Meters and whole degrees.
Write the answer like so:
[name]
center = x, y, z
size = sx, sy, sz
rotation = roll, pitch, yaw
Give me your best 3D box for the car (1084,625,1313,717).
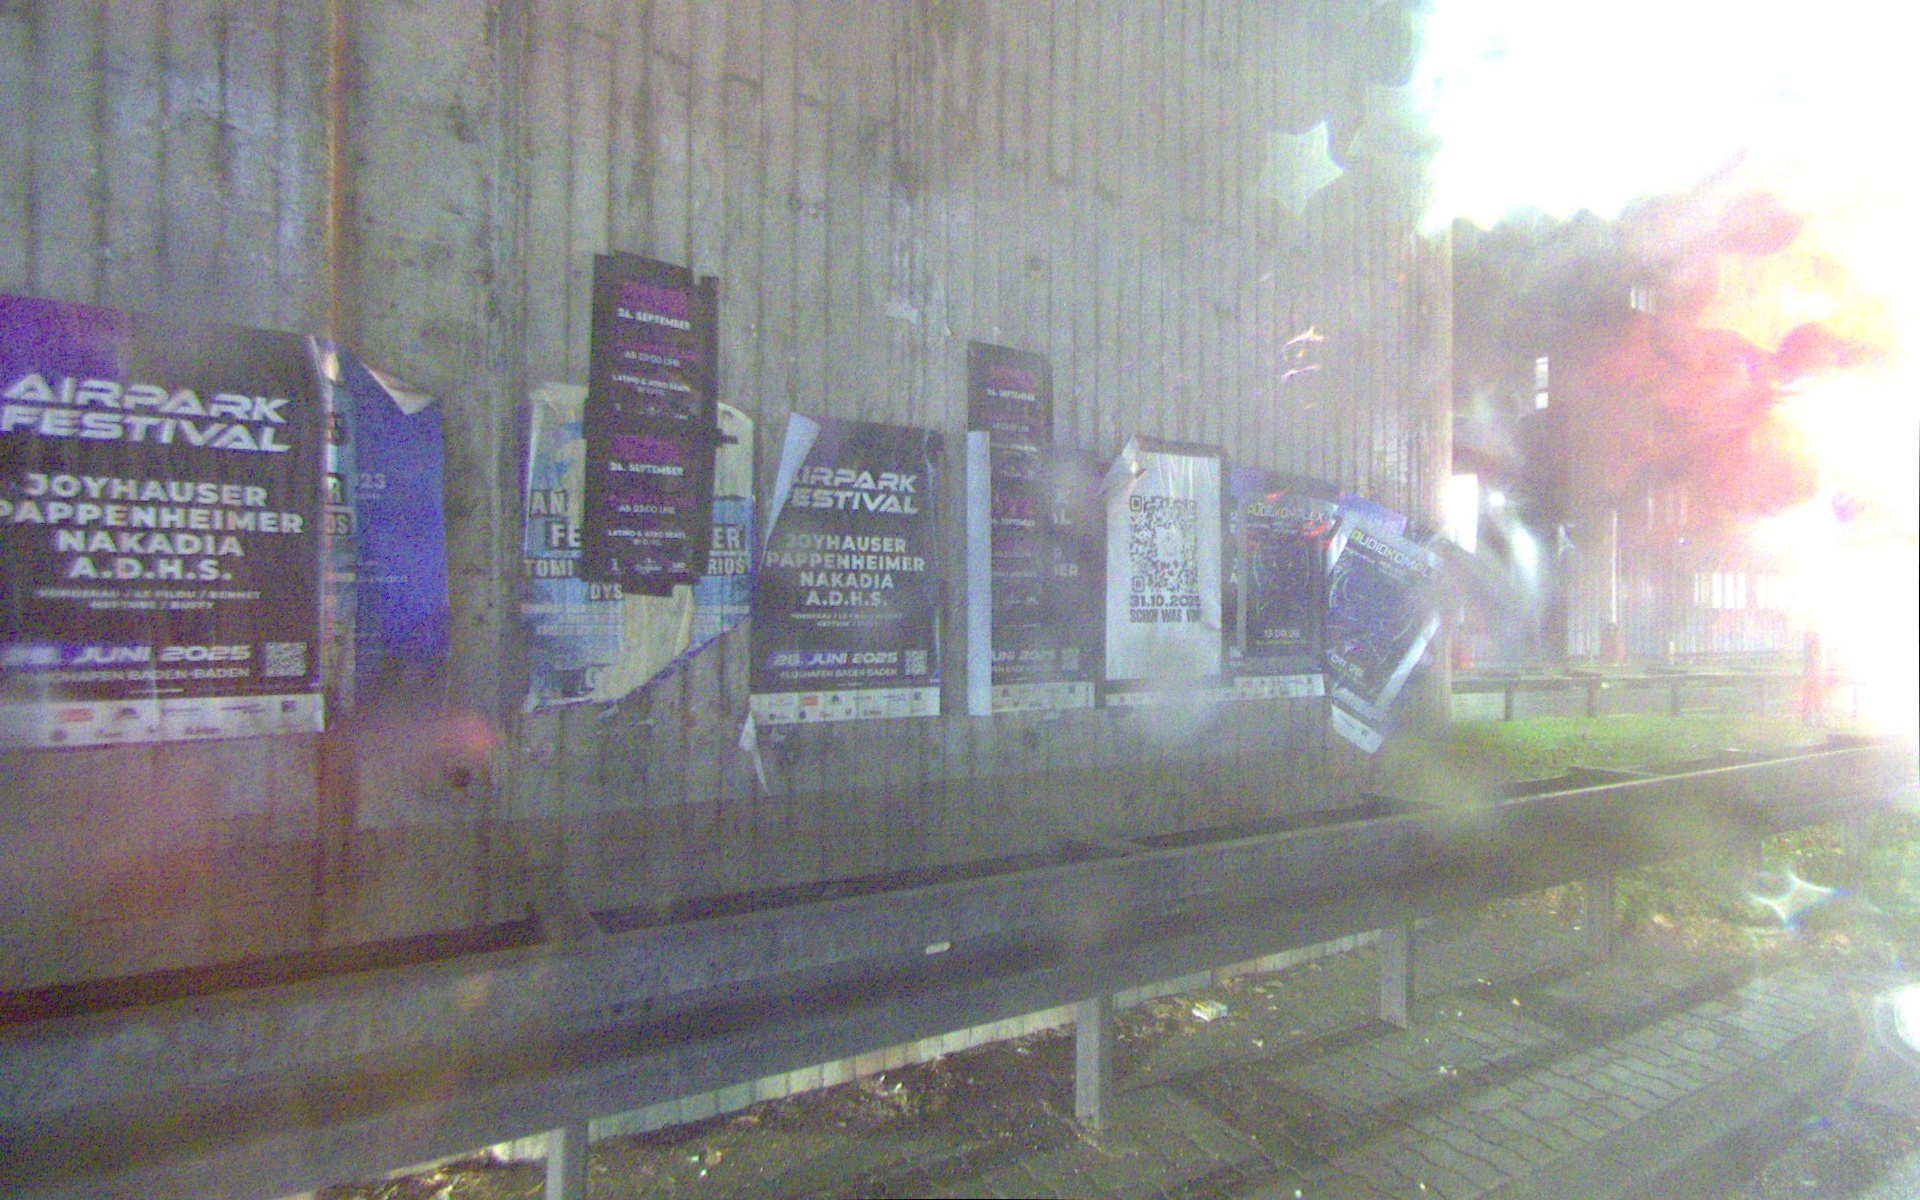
[car]
center = 4.425, 1.260, 18.507
size = 3.953, 1.483, 1.816
rotation = 2, -1, -30
